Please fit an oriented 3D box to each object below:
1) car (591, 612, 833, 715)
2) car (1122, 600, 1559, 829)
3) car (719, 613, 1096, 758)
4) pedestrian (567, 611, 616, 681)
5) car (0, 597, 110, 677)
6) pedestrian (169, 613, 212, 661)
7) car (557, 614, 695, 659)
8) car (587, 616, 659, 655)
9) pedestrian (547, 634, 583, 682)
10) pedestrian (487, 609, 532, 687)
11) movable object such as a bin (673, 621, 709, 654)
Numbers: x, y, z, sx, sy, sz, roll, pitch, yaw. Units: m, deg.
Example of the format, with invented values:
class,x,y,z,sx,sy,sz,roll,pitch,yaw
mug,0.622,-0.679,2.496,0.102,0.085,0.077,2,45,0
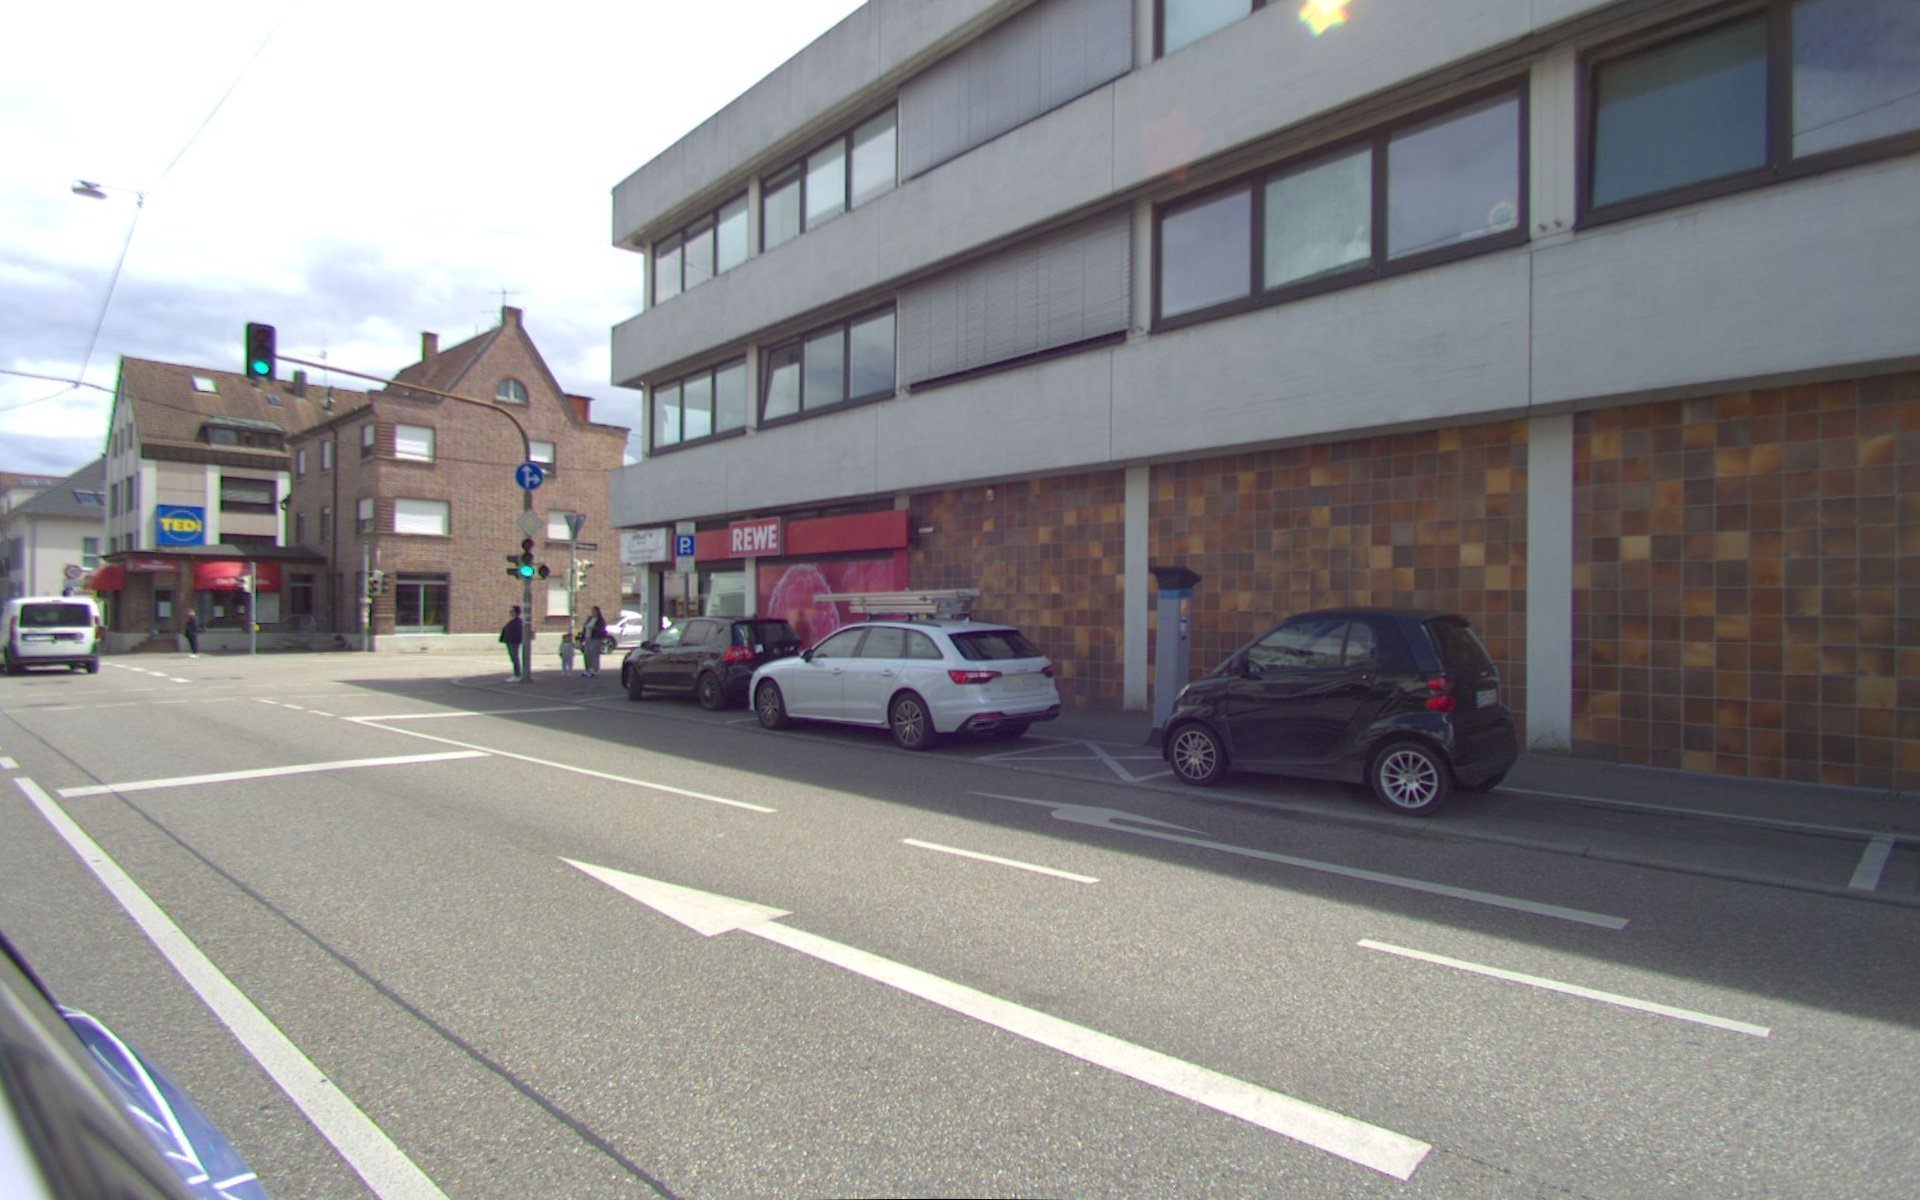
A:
class,x,y,z,sx,sy,sz,roll,pitch,yaw
car,-4.292,0.982,17.134,4.286,1.486,2.021,-1,-1,44
car,3.150,0.816,8.673,1.716,1.568,3.059,0,-1,-44
car,-0.865,0.925,12.823,2.020,1.455,4.956,0,-1,-44
pedestrian,-8.551,1.048,23.476,0.809,1.566,0.847,0,-1,-42
car,-22.980,0.907,25.420,4.278,1.835,1.924,-1,-2,43
pedestrian,-27.956,1.345,36.791,0.839,1.736,0.906,0,-2,1
car,-13.953,1.534,42.525,5.182,1.782,2.001,2,-3,-45
car,-16.848,1.761,50.501,3.701,1.877,1.844,-1,-2,43
pedestrian,-9.039,1.315,23.142,0.552,1.065,0.663,0,-1,-42
pedestrian,-9.824,1.034,22.068,0.709,1.657,0.682,0,-1,-43
movable object such as a bin,-14.220,1.969,53.538,1.498,1.637,1.146,-1,0,-44
